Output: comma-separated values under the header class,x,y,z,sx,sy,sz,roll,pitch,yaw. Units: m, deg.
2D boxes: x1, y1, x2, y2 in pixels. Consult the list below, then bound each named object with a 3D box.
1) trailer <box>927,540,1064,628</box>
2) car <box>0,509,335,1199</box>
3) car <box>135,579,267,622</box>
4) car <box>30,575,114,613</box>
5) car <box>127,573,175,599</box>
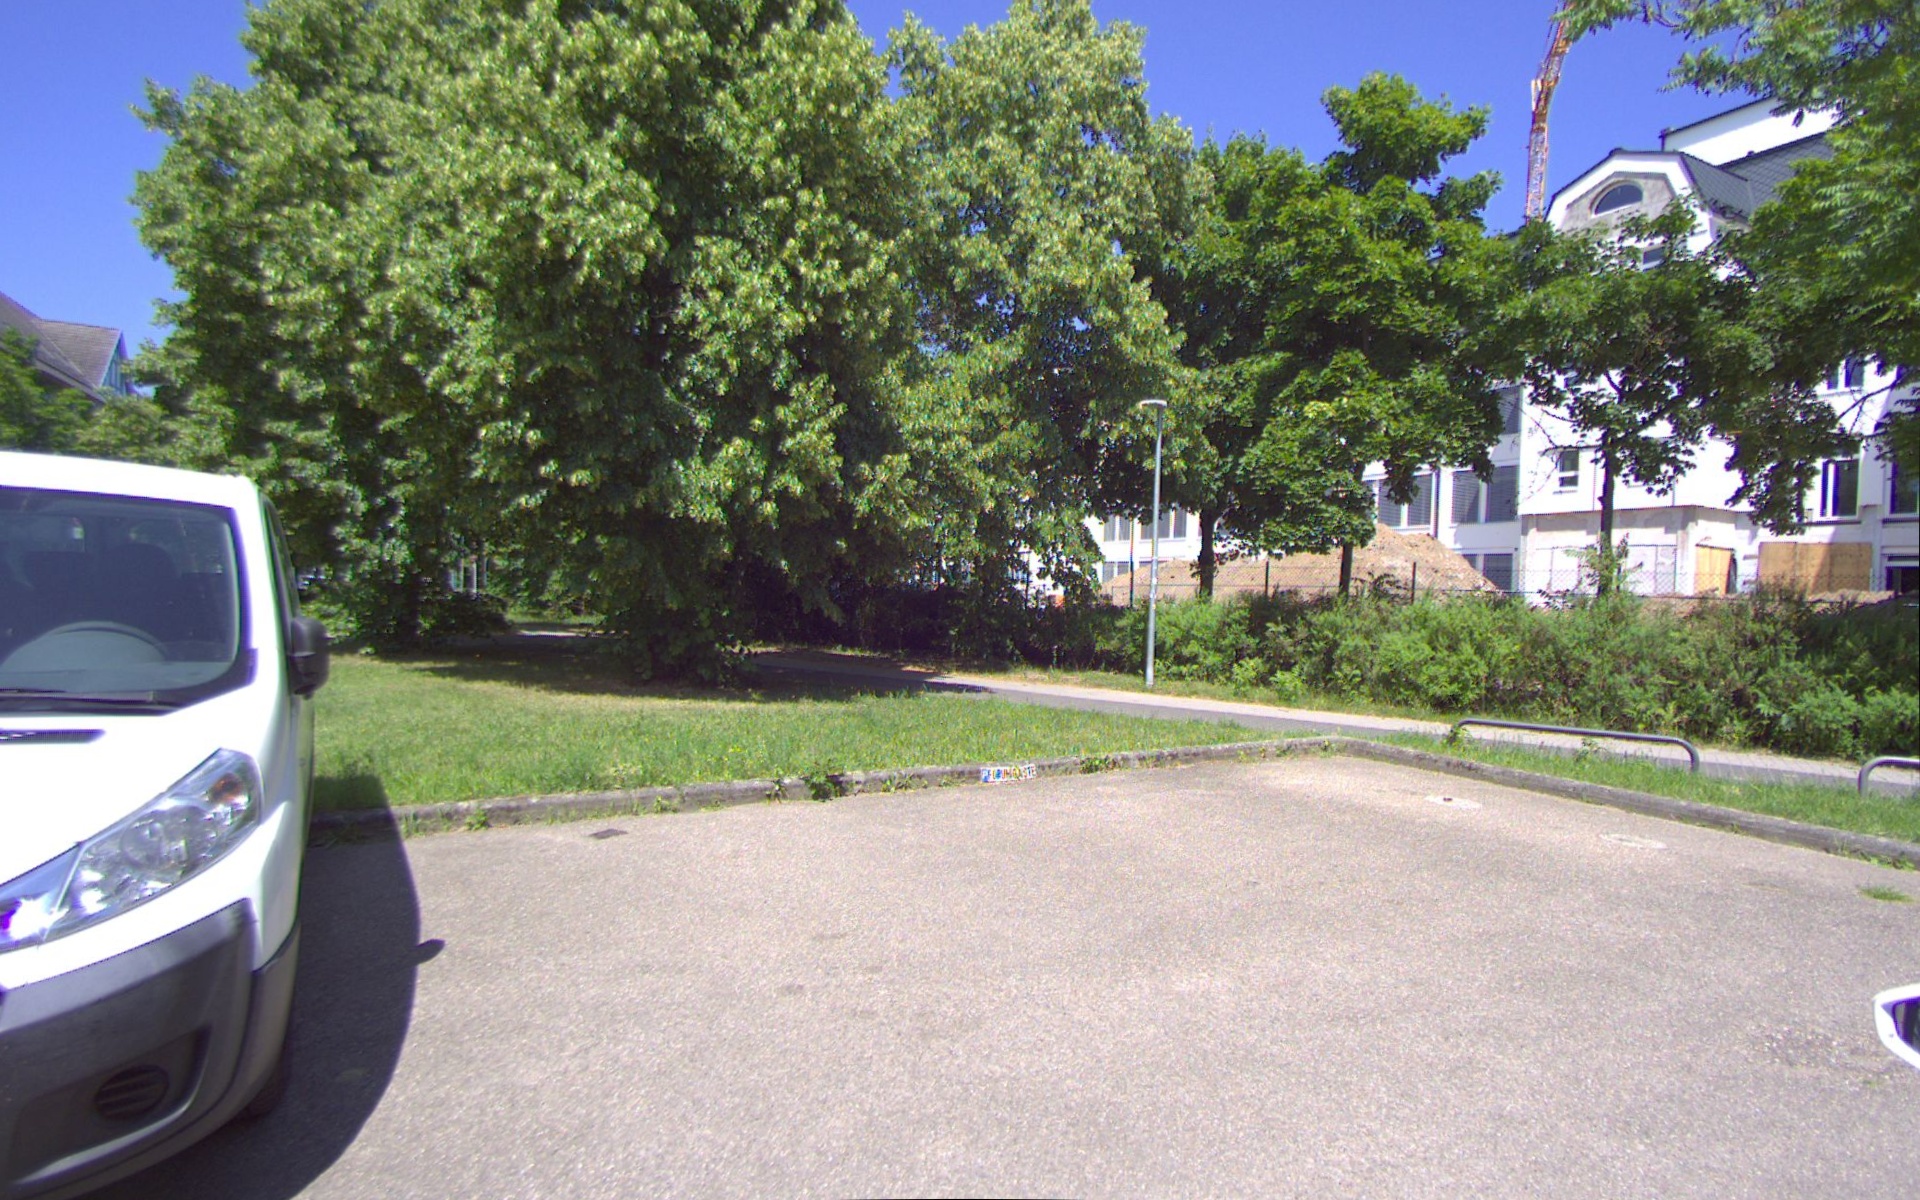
class,x,y,z,sx,sy,sz,roll,pitch,yaw
trailer,1.349,-0.748,44.932,2.996,3.467,8.730,2,1,-20
car,-3.388,0.780,3.496,1.978,1.937,4.761,-2,2,-32
car,-31.534,0.015,41.893,4.123,1.639,1.960,2,1,-31
car,-41.218,-0.312,46.719,1.952,1.639,4.140,2,1,-28
car,-54.372,-0.940,67.574,1.955,1.639,4.134,2,1,-32
